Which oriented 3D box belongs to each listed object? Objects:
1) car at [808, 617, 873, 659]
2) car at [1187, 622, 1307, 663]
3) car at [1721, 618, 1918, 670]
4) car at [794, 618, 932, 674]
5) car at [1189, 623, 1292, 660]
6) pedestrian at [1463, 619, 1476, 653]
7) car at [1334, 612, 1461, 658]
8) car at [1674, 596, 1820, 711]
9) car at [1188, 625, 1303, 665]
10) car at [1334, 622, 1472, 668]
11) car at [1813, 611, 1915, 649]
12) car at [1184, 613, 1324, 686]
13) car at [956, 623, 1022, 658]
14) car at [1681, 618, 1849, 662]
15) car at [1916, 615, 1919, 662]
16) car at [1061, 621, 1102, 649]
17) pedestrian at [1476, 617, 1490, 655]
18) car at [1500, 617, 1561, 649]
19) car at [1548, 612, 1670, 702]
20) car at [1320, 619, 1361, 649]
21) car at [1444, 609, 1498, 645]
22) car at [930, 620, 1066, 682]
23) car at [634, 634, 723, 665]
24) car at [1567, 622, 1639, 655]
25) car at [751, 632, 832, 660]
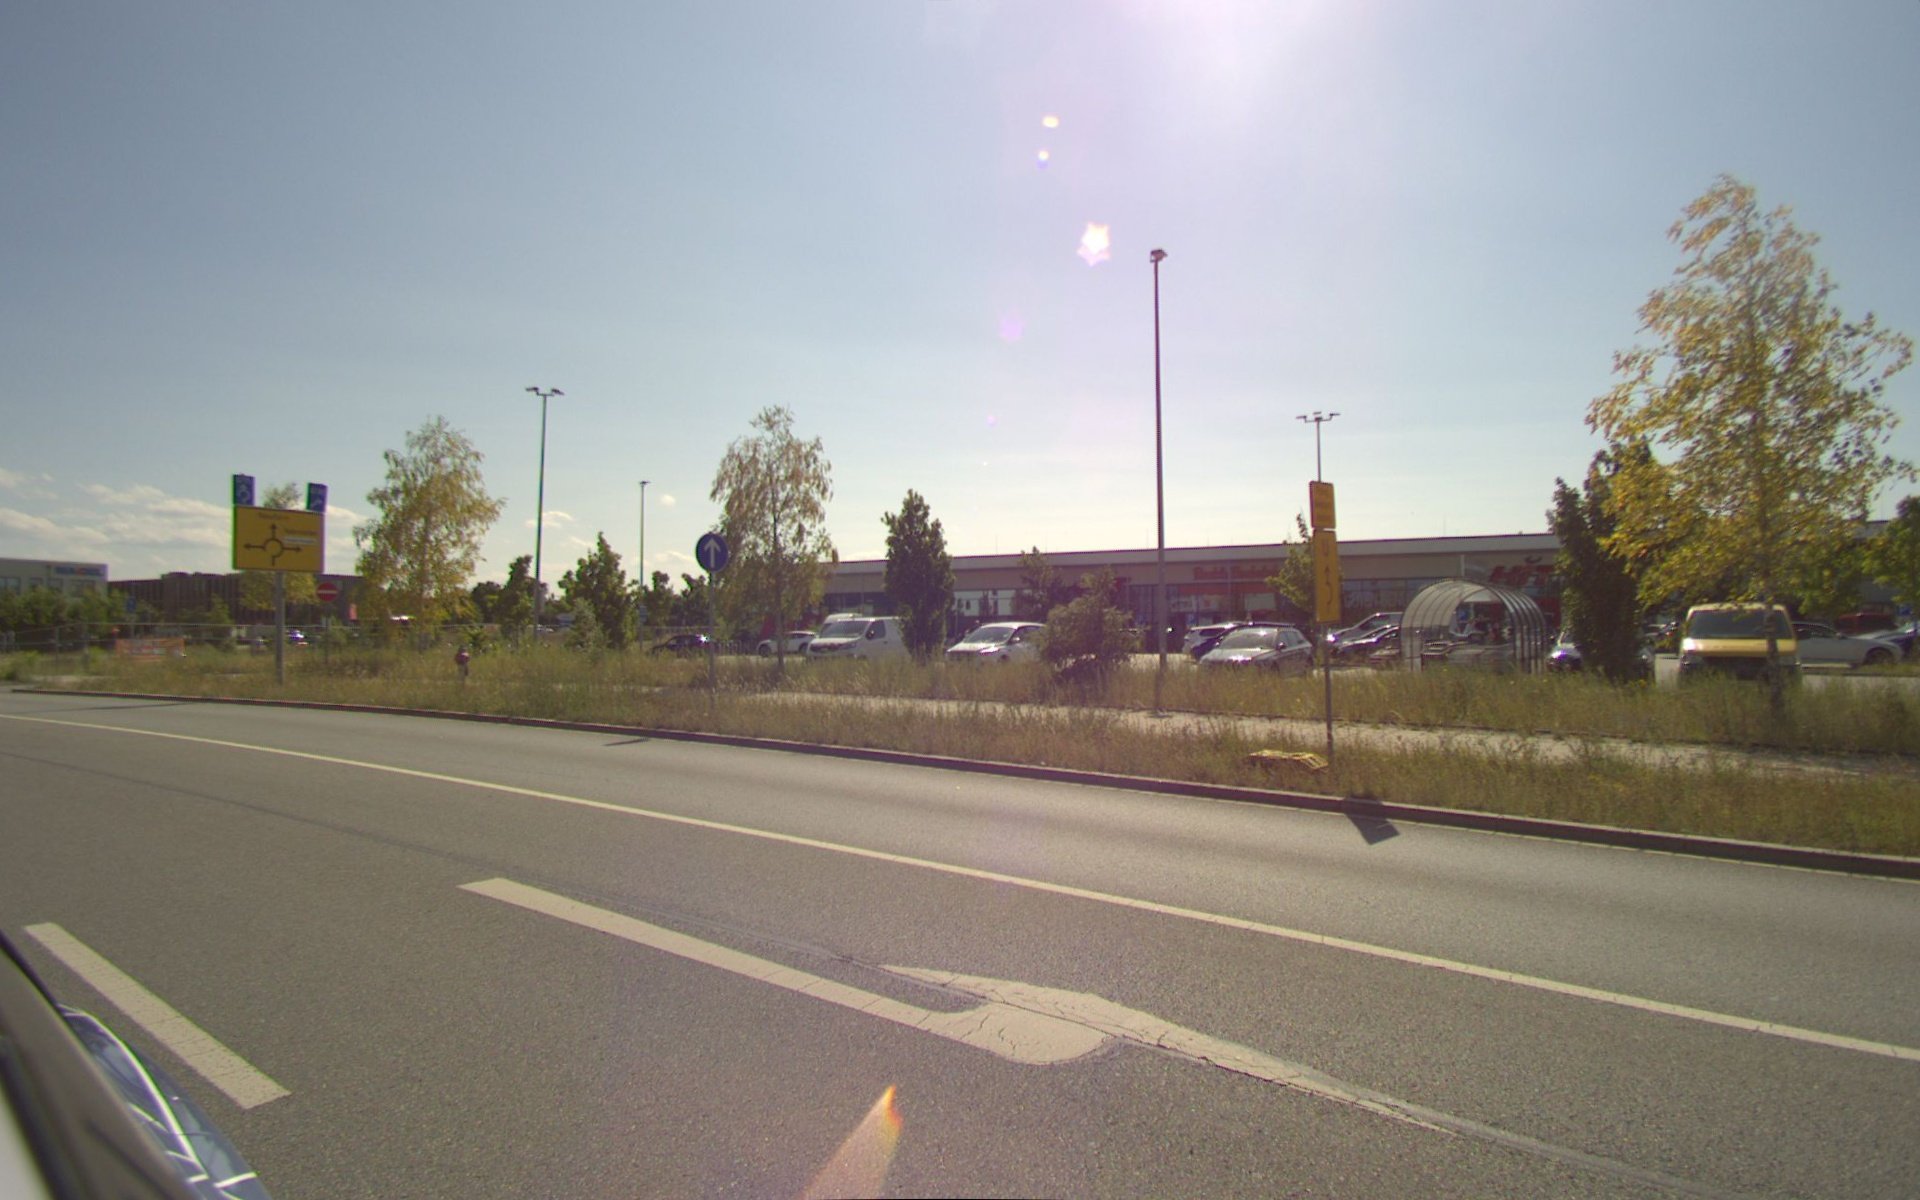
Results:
[{"bbox_3d":[-7.673,2.425,65.749,1.925,2.607,5.681,-1,-2,19],"label":"car"},{"bbox_3d":[10.634,1.566,37.538,4.113,1.436,1.704,-1,-2,22],"label":"car"},{"bbox_3d":[26.742,1.364,31.699,4.328,1.538,1.703,-1,-2,24],"label":"car"},{"bbox_3d":[-3.062,1.468,33.123,1.991,1.685,5.146,-2,-2,28],"label":"car"},{"bbox_3d":[12.726,1.877,45.926,4.325,1.599,1.704,-1,-2,22],"label":"car"},{"bbox_3d":[20.893,1.471,41.499,0.411,1.406,0.506,-1,-2,23],"label":"pedestrian"},{"bbox_3d":[17.610,1.419,40.867,4.556,1.754,1.703,-1,-2,25],"label":"car"},{"bbox_3d":[15.640,1.000,20.329,1.996,1.980,5.630,-2,-2,36],"label":"car"},{"bbox_3d":[11.314,1.769,40.118,4.211,1.528,1.704,-1,-2,22],"label":"car"},{"bbox_3d":[15.571,1.581,35.793,4.322,1.538,1.706,-1,-2,20],"label":"car"},{"bbox_3d":[41.426,1.391,46.506,1.702,1.646,4.331,-1,-2,16],"label":"car"},{"bbox_3d":[7.598,1.222,25.865,1.996,1.685,4.660,-2,-2,35],"label":"car"},{"bbox_3d":[1.411,1.898,47.716,1.832,1.564,3.969,-1,-2,23],"label":"car"},{"bbox_3d":[28.625,1.429,36.154,4.328,1.489,1.703,-1,-2,24],"label":"car"},{"bbox_3d":[33.300,1.212,31.813,4.324,1.544,1.705,-1,-2,22],"label":"car"},{"bbox_3d":[7.151,2.021,59.427,1.702,1.576,4.331,-1,-2,16],"label":"car"},{"bbox_3d":[20.468,1.407,39.594,0.411,1.475,0.506,-1,-2,23],"label":"pedestrian"},{"bbox_3d":[28.579,1.661,50.831,1.702,1.530,4.331,-1,-2,16],"label":"car"},{"bbox_3d":[13.843,1.141,21.464,1.878,1.685,4.725,-2,-2,36],"label":"car"},{"bbox_3d":[20.271,1.803,54.045,1.702,1.536,4.331,-1,-2,16],"label":"car"},{"bbox_3d":[26.791,1.429,53.147,1.702,1.821,4.331,-1,-2,16],"label":"car"},{"bbox_3d":[1.223,1.478,30.363,1.995,1.685,4.551,-2,-2,34],"label":"car"},{"bbox_3d":[-16.001,2.784,57.649,4.381,1.701,2.270,-1,-2,17],"label":"car"},{"bbox_3d":[31.703,1.899,50.016,1.818,1.536,4.331,-1,-2,16],"label":"car"},{"bbox_3d":[-10.269,2.795,61.782,4.536,1.701,1.965,-1,-2,17],"label":"car"}]
